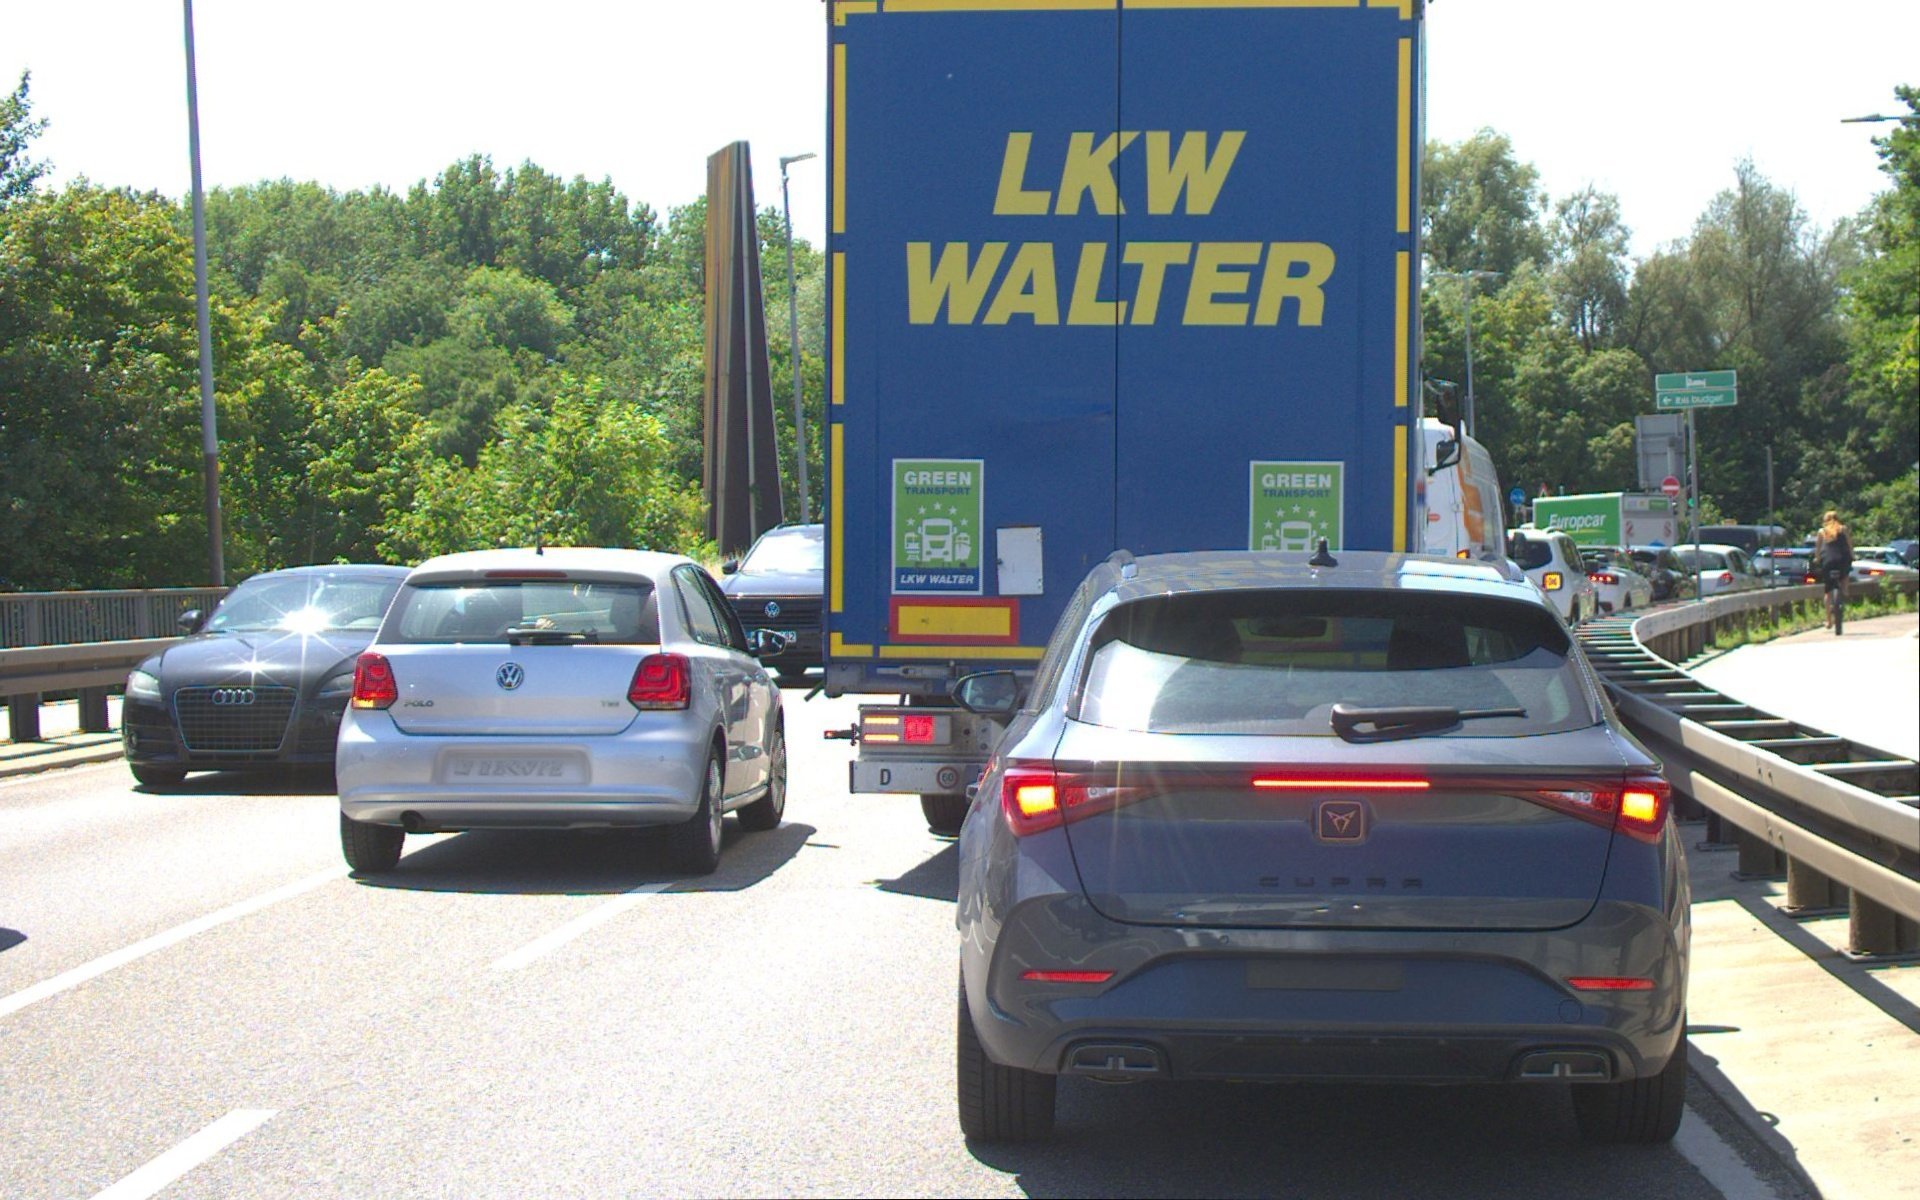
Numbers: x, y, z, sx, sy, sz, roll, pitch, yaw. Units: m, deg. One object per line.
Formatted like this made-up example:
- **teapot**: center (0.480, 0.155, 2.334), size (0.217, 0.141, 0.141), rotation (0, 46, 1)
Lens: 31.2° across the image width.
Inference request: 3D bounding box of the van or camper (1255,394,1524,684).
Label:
- **van or camper**: center (4.700, -0.670, 36.700), size (2.155, 2.806, 6.383), rotation (0, 1, 13)

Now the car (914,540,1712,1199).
- **car**: center (0.846, 0.572, 9.239), size (1.677, 1.451, 3.958), rotation (0, 1, 3)

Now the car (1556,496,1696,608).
- **car**: center (11.379, -0.839, 58.590), size (1.722, 1.837, 3.996), rotation (0, 1, 20)

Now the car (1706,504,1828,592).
- **car**: center (16.698, -1.063, 71.029), size (1.687, 1.754, 3.995), rotation (0, 1, 24)

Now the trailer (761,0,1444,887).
- **trailer**: center (1.399, -1.146, 20.820), size (2.905, 4.403, 12.430), rotation (0, 1, 8)

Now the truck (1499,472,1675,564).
- **truck**: center (20.199, -2.650, 111.007), size (2.334, 2.864, 5.941), rotation (-1, 2, -29)

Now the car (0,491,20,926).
- **car**: center (-4.525, 0.439, 10.957), size (1.707, 1.621, 4.252), rotation (0, 1, 3)

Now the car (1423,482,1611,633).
- **car**: center (7.186, -0.586, 44.074), size (1.722, 1.837, 3.997), rotation (0, 2, 19)

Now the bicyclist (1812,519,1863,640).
- **bicyclist**: center (12.463, -0.300, 48.860), size (0.578, 1.677, 0.729), rotation (-3, 1, 11)

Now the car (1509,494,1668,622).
- **car**: center (9.278, -0.649, 50.551), size (1.722, 1.796, 3.996), rotation (0, 1, 19)

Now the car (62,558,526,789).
- **car**: center (-4.147, 0.405, 22.043), size (1.679, 1.304, 3.972), rotation (0, 1, 9)

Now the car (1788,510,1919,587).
- **car**: center (20.126, -1.144, 77.232), size (1.997, 1.570, 3.994), rotation (2, 0, 28)

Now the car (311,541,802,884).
- **car**: center (-1.812, 0.442, 16.589), size (1.677, 1.406, 3.975), rotation (0, 1, 3)

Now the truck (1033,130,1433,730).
- **truck**: center (2.454, -1.334, 28.702), size (2.905, 4.403, 6.554), rotation (0, 1, 8)

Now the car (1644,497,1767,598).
- **car**: center (14.030, -1.002, 64.546), size (1.722, 1.837, 3.996), rotation (0, 1, 20)

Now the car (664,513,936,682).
- **car**: center (-1.619, -0.068, 36.613), size (1.967, 1.667, 4.612), rotation (0, 1, 9)

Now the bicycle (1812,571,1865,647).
- **bicycle**: center (12.489, 0.122, 48.907), size (0.582, 1.032, 1.484), rotation (-3, 1, 11)
